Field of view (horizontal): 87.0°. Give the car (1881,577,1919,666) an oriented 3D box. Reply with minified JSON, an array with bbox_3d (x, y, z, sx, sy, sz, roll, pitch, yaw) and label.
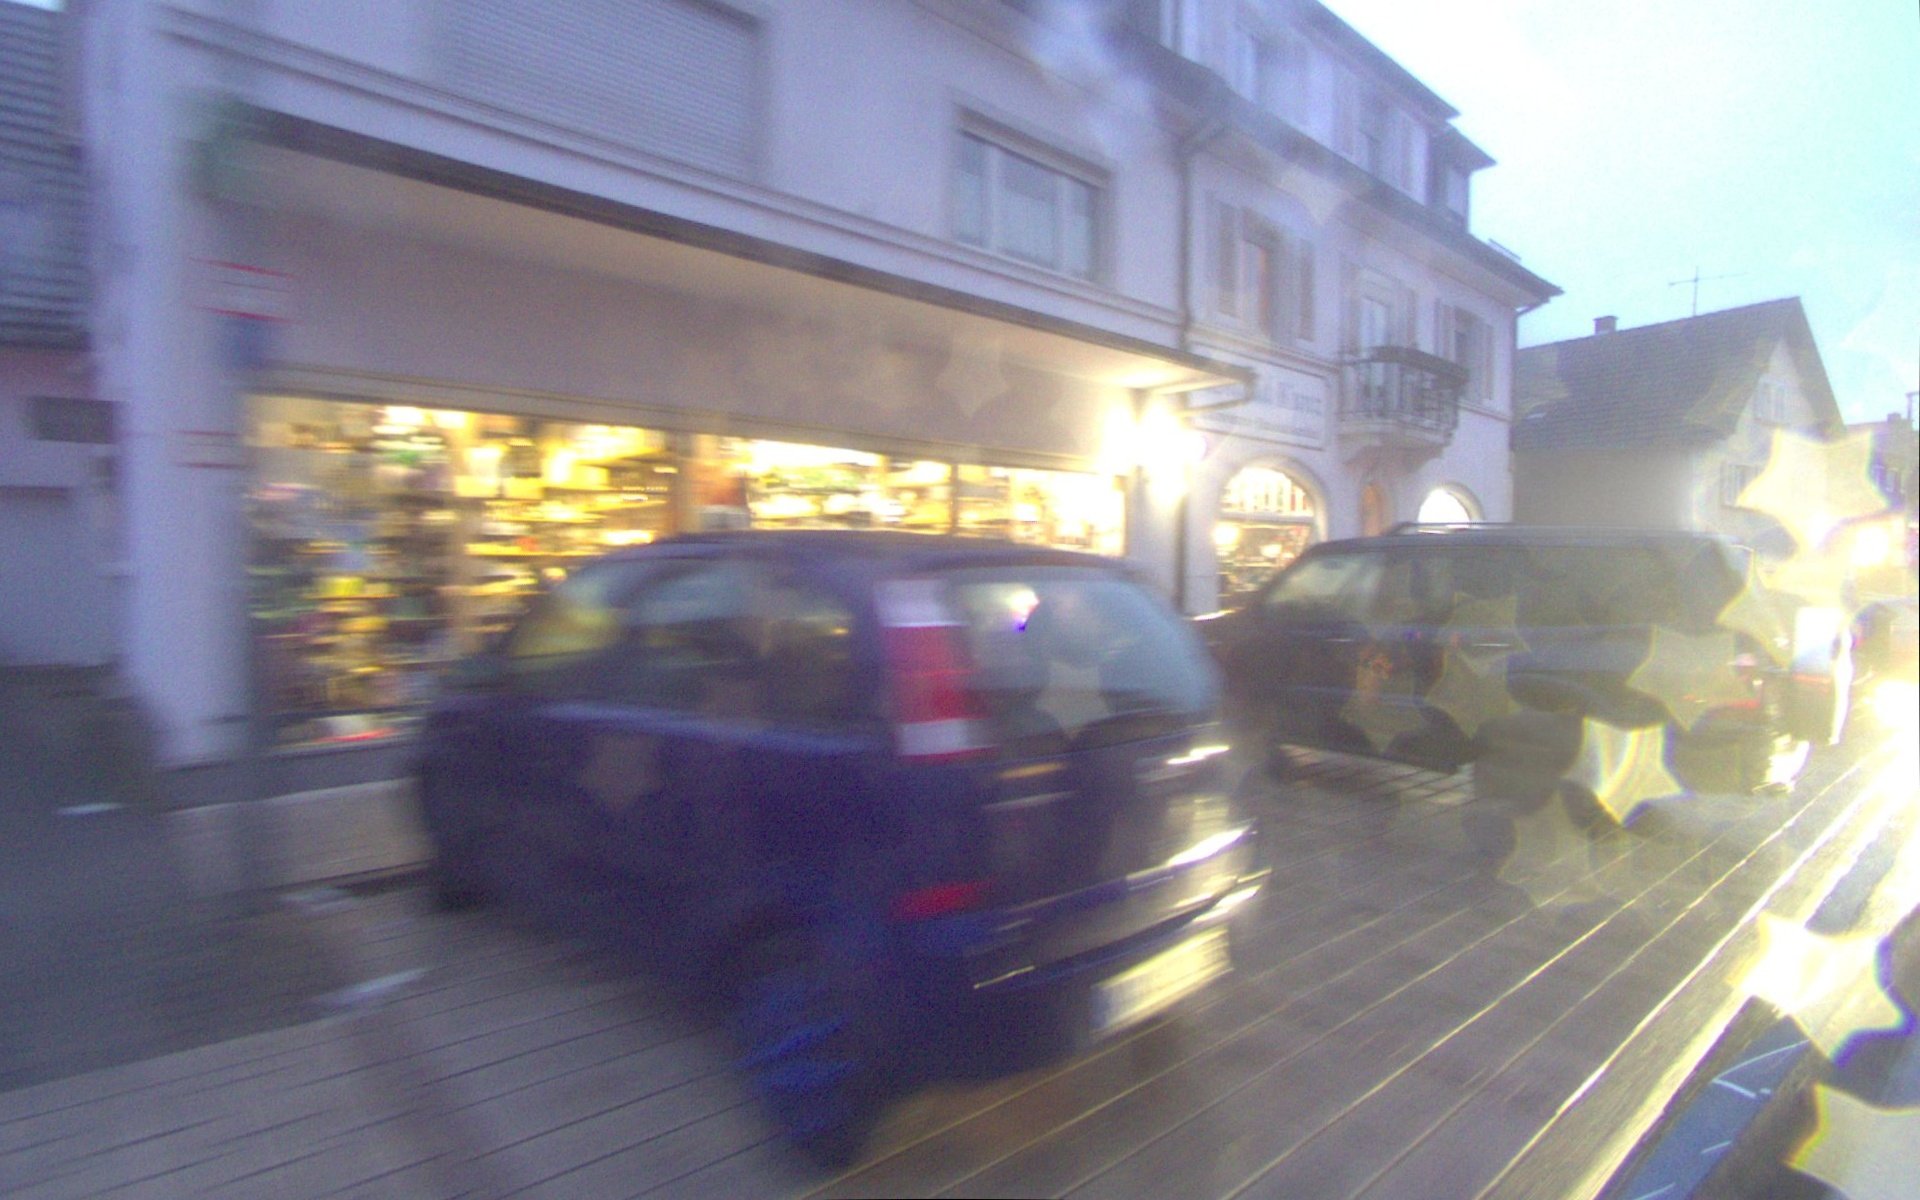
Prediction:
[{"bbox_3d":[19.061,0.402,18.973,4.586,1.566,1.888,0,2,-38],"label":"car"}]

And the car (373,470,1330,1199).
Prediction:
[{"bbox_3d":[-0.795,0.474,3.948,3.871,1.599,1.655,2,2,45],"label":"car"}]

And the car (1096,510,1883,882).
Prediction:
[{"bbox_3d":[3.395,0.386,7.227,1.913,1.798,4.607,0,2,-44],"label":"car"}]

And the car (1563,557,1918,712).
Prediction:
[{"bbox_3d":[10.260,0.335,13.460,1.688,1.701,3.507,0,3,-45],"label":"car"}]

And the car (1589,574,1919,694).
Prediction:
[{"bbox_3d":[12.356,0.419,15.290,1.865,1.491,4.476,0,3,-41],"label":"car"}]
